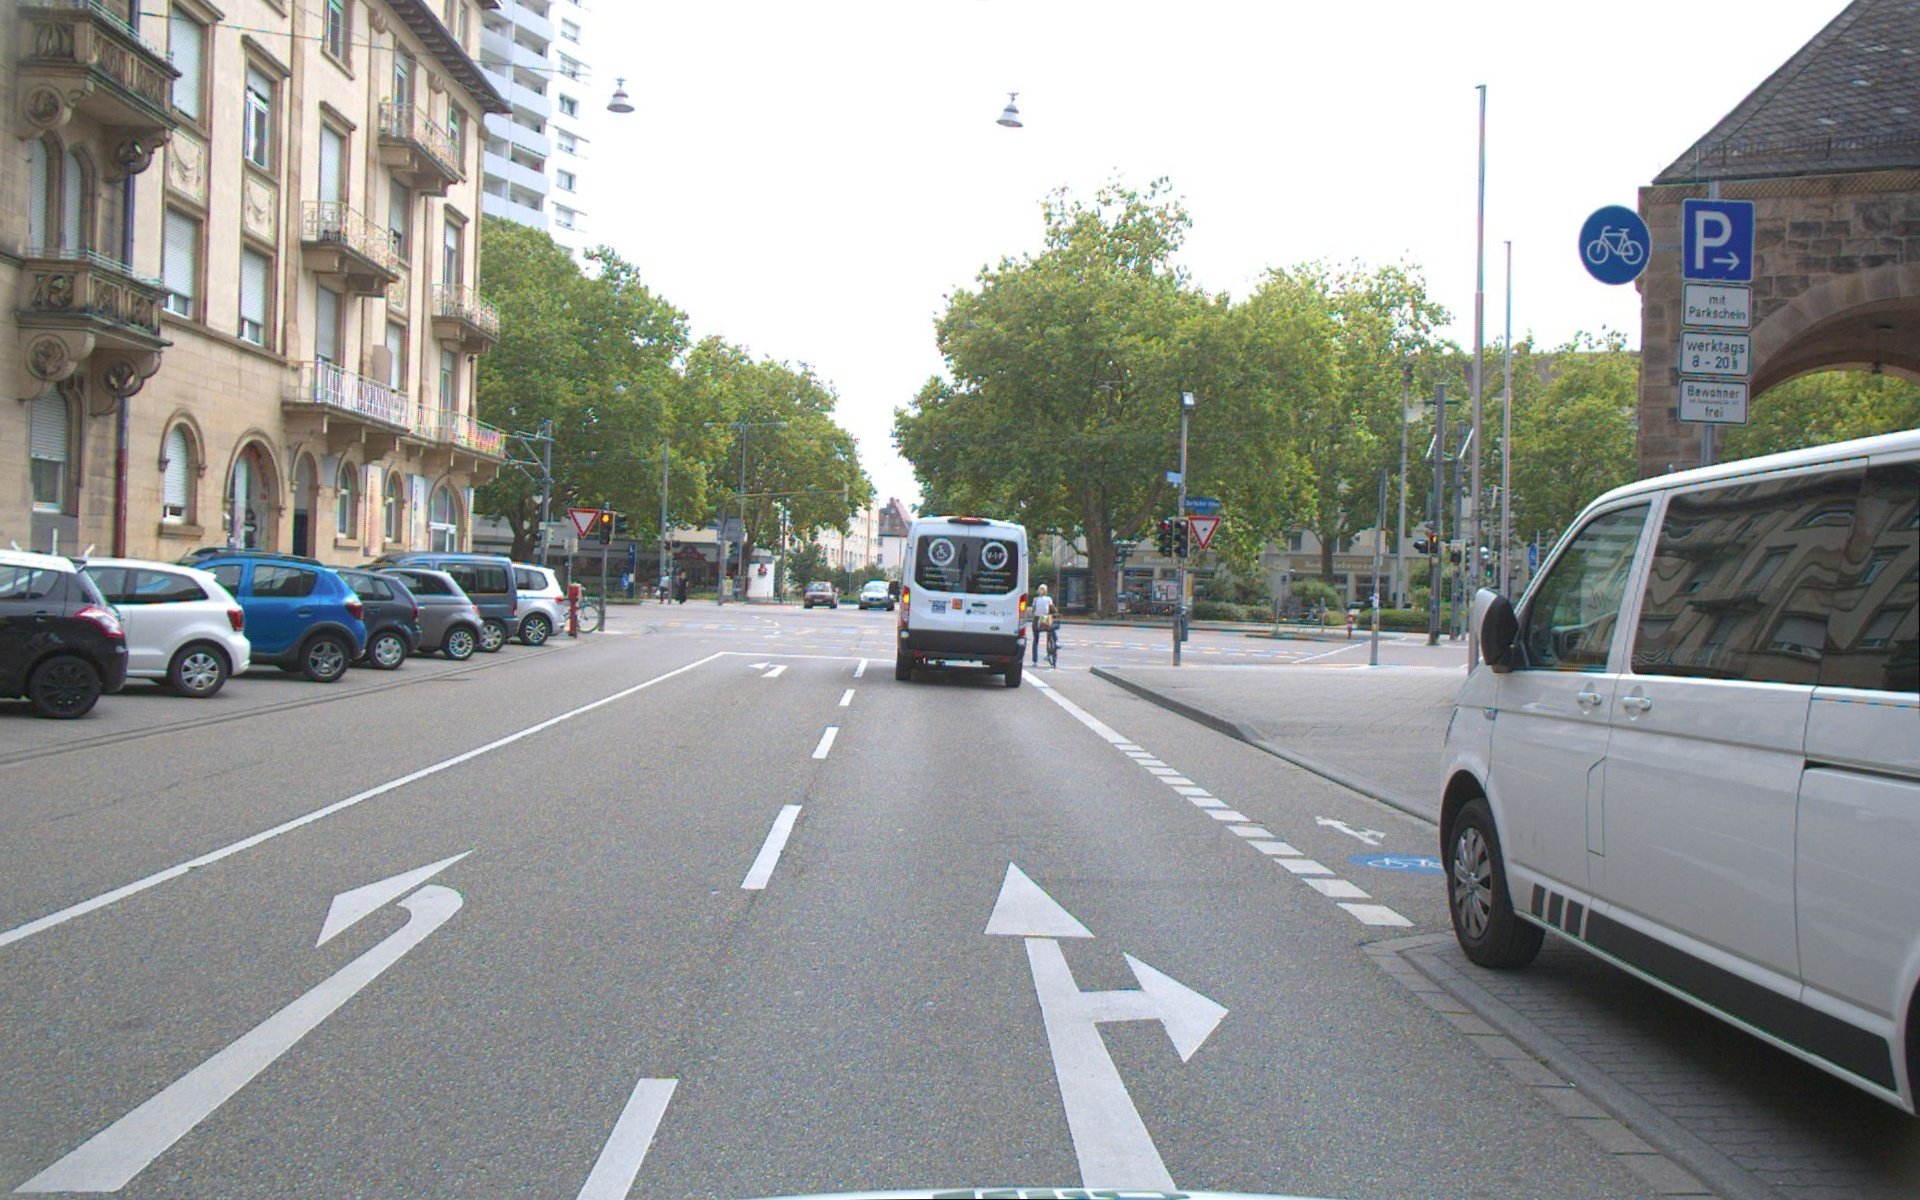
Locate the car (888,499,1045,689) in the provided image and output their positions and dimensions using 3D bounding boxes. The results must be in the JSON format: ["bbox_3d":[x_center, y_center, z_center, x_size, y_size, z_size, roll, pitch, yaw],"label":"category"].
[{"bbox_3d":[0.003,-0.125,26.992,2.139,2.693,4.626,4,1,-3],"label":"car"}]

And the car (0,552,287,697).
[{"bbox_3d":[-9.671,0.257,18.473,3.648,1.507,1.718,2,0,-38],"label":"car"}]

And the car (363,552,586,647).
[{"bbox_3d":[-9.868,0.005,33.753,3.976,1.804,1.770,2,0,-41],"label":"car"}]

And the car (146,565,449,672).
[{"bbox_3d":[-9.871,0.281,24.761,3.863,1.469,1.812,2,0,-38],"label":"car"}]

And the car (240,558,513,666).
[{"bbox_3d":[-9.815,0.206,27.976,3.976,1.680,1.770,2,0,-41],"label":"car"}]

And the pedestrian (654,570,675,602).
[{"bbox_3d":[-14.980,-0.705,83.787,0.790,1.600,0.724,2,0,12],"label":"pedestrian"}]

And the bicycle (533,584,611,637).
[{"bbox_3d":[-9.675,0.255,41.243,1.836,1.187,0.498,4,0,19],"label":"bicycle"}]

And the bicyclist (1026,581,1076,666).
[{"bbox_3d":[1.884,0.477,34.241,0.886,1.713,0.756,2,0,-5],"label":"bicyclist"}]

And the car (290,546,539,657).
[{"bbox_3d":[-10.008,0.038,30.498,3.976,1.911,1.770,2,0,-41],"label":"car"}]

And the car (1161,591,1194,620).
[{"bbox_3d":[15.300,0.371,116.358,1.952,1.964,4.002,2,0,3],"label":"car"}]

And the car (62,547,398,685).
[{"bbox_3d":[-9.588,0.211,21.840,3.740,1.680,1.701,2,0,-38],"label":"car"}]

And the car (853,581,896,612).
[{"bbox_3d":[-4.602,-0.211,89.843,1.696,1.620,4.003,1,1,6],"label":"car"}]

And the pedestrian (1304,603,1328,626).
[{"bbox_3d":[19.857,0.805,92.346,1.068,1.257,1.441,0,-1,3],"label":"pedestrian"}]

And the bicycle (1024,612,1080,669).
[{"bbox_3d":[1.880,0.816,34.045,0.885,1.093,1.968,2,0,-4],"label":"bicycle"}]

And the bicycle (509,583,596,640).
[{"bbox_3d":[-9.372,0.254,38.088,1.772,1.139,0.594,5,0,2],"label":"bicycle"}]

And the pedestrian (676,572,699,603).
[{"bbox_3d":[-13.828,-0.647,83.830,0.910,1.541,0.724,2,0,12],"label":"pedestrian"}]

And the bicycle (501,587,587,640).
[{"bbox_3d":[-9.409,0.303,37.416,1.771,1.140,0.594,1,0,5],"label":"bicycle"}]

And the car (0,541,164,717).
[{"bbox_3d":[-9.732,0.229,15.388,3.964,1.592,1.776,2,0,-34],"label":"car"}]

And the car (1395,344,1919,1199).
[{"bbox_3d":[3.101,0.433,4.995,1.974,2.064,5.121,0,1,-3],"label":"car"}]

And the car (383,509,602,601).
[{"bbox_3d":[-21.734,-2.098,76.839,9.685,3.983,3.454,2,0,23],"label":"car"}]

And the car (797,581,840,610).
[{"bbox_3d":[-7.755,-0.249,91.069,1.587,1.502,4.003,1,1,6],"label":"car"}]
